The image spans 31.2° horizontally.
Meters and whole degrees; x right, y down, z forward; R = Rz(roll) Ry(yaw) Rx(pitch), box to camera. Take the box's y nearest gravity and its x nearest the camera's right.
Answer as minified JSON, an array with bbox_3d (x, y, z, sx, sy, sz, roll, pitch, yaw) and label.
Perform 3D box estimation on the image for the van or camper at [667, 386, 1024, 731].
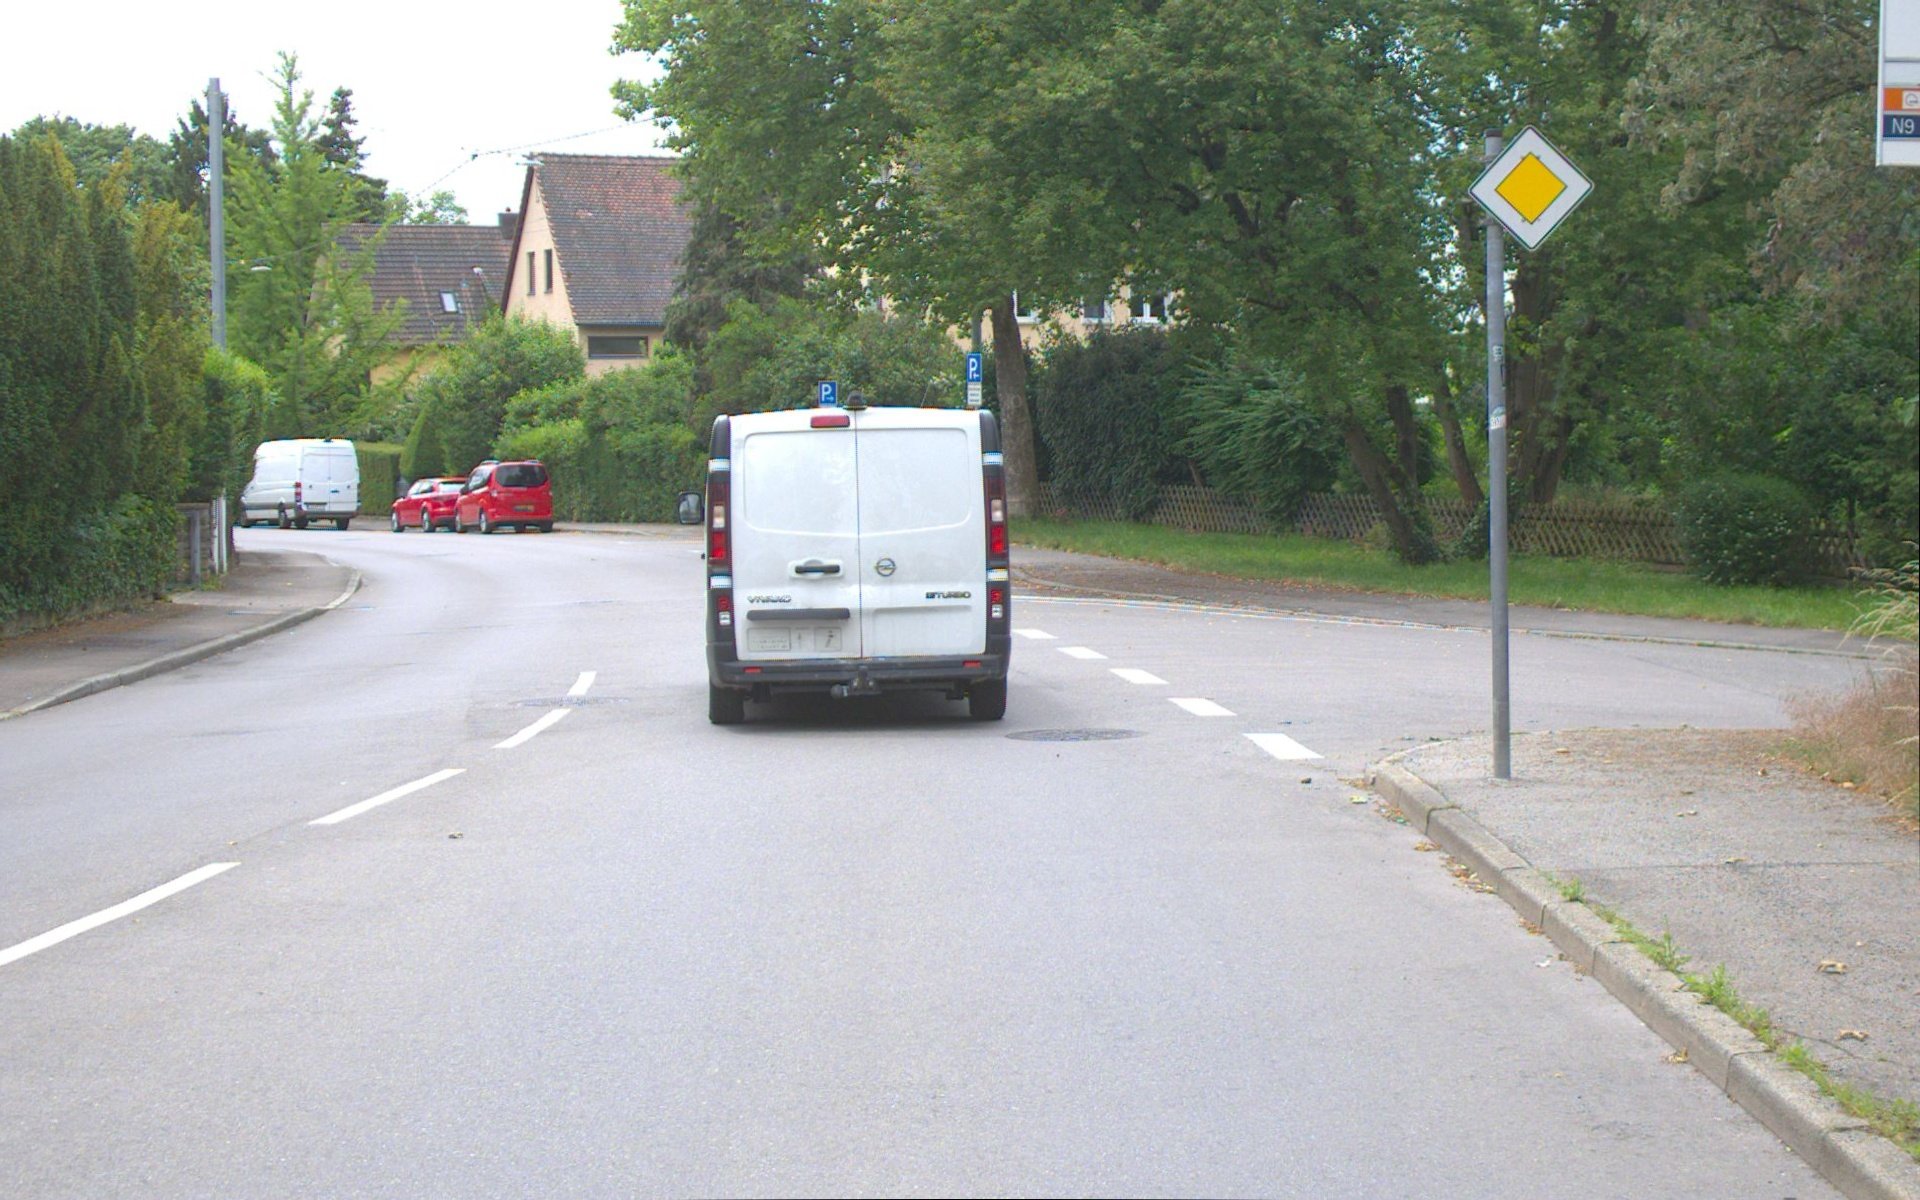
[{"bbox_3d":[-0.875,-0.387,22.631,1.924,2.006,4.831,0,4,-7],"label":"van or camper"}]

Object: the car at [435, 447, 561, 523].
[{"bbox_3d":[-11.386,-2.837,84.533,1.760,1.791,4.950,-1,2,-24],"label":"car"}]

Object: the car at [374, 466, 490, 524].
[{"bbox_3d":[-13.776,-2.760,89.541,1.712,1.462,4.269,-1,2,-27],"label":"car"}]

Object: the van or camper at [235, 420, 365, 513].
[{"bbox_3d":[-19.610,-3.966,101.884,2.066,2.665,6.330,-2,3,-27],"label":"van or camper"}]
